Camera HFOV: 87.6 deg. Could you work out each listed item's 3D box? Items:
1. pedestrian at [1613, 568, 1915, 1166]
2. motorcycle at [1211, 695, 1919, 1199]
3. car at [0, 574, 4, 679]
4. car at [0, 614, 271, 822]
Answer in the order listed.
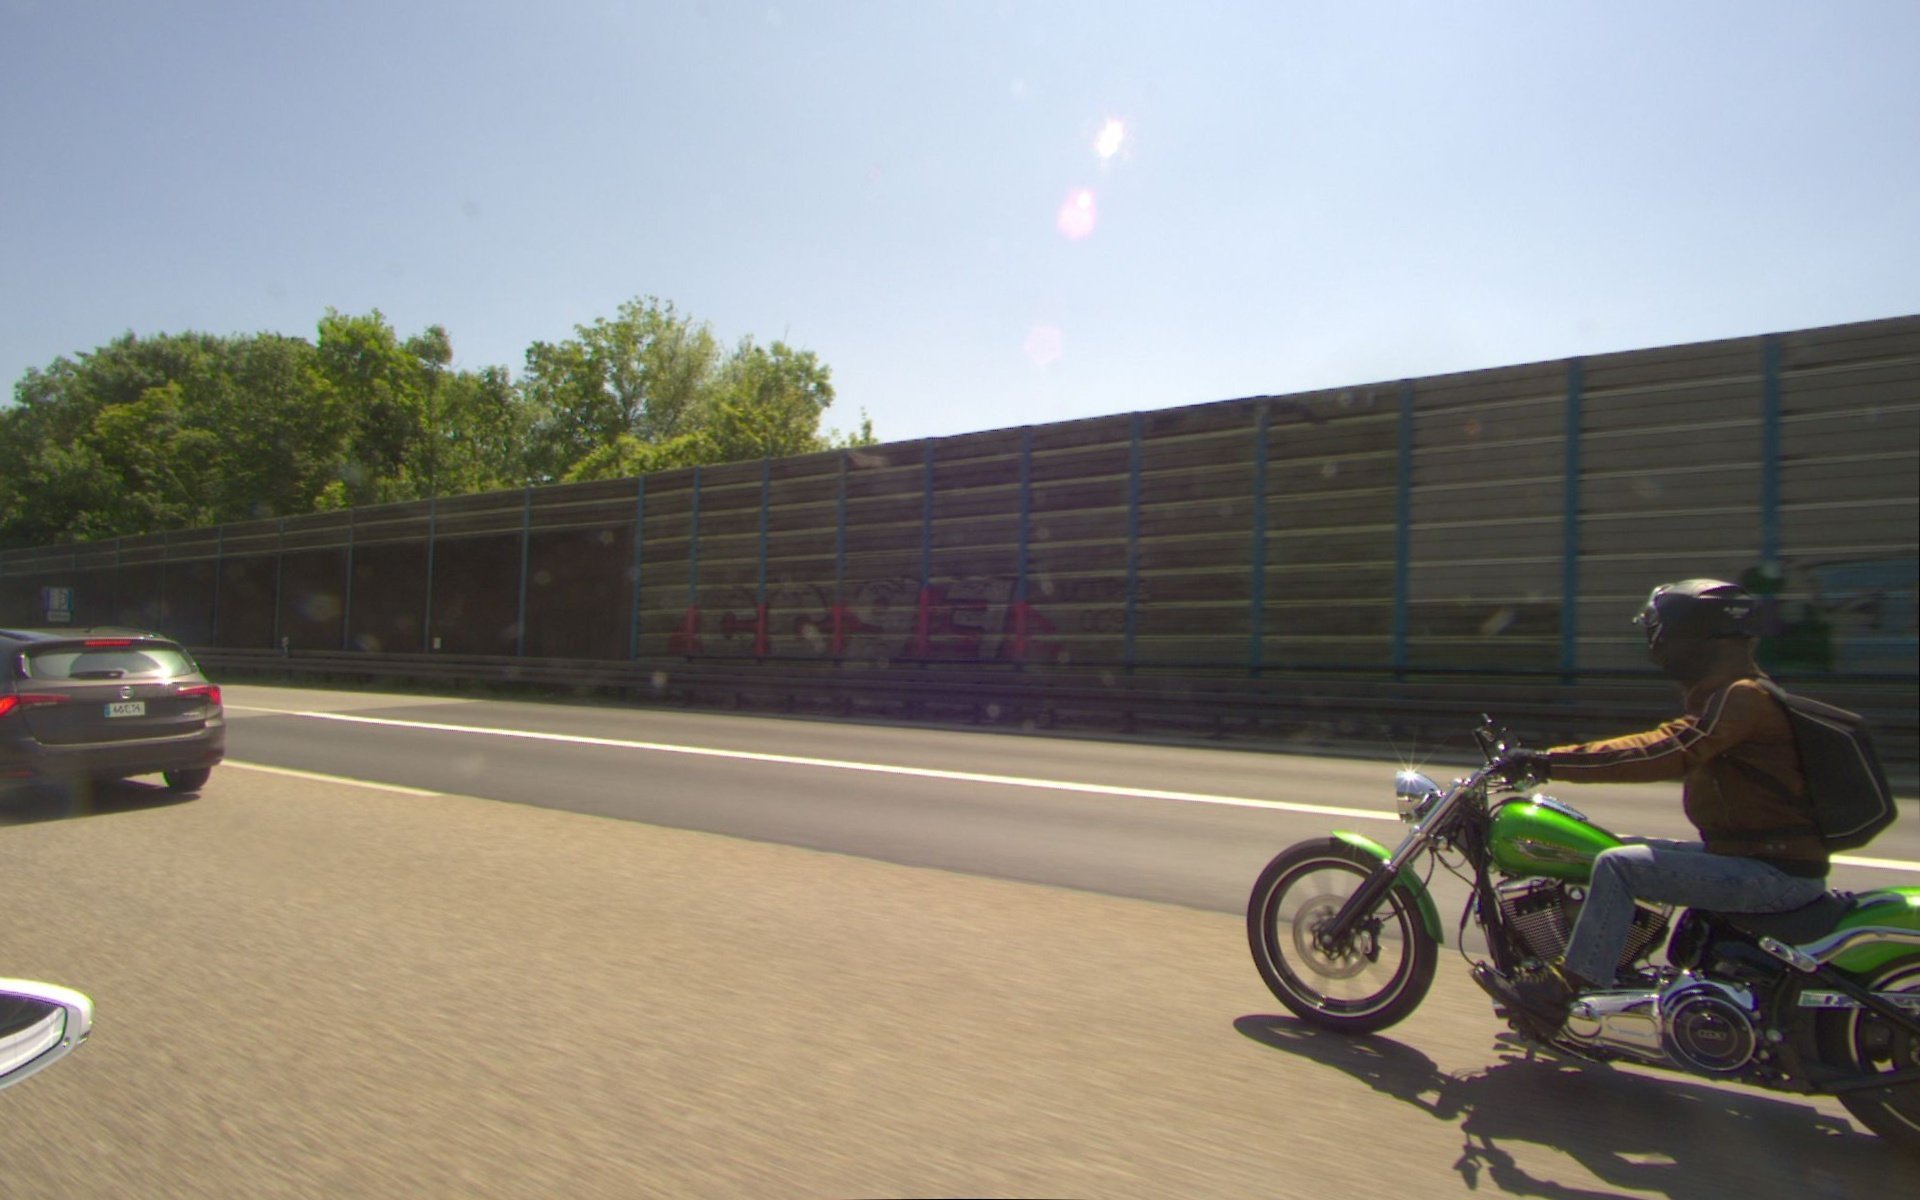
[{"bbox_3d":[2.378,0.682,3.047,0.629,1.498,0.849,0,-1,35],"label":"pedestrian"},{"bbox_3d":[2.057,0.984,3.271,2.246,1.197,0.857,0,-1,35],"label":"motorcycle"},{"bbox_3d":[-28.741,0.728,27.175,6.128,2.801,2.476,-1,-1,31],"label":"car"},{"bbox_3d":[-8.490,0.909,9.251,4.336,1.532,1.836,0,-2,30],"label":"car"}]
